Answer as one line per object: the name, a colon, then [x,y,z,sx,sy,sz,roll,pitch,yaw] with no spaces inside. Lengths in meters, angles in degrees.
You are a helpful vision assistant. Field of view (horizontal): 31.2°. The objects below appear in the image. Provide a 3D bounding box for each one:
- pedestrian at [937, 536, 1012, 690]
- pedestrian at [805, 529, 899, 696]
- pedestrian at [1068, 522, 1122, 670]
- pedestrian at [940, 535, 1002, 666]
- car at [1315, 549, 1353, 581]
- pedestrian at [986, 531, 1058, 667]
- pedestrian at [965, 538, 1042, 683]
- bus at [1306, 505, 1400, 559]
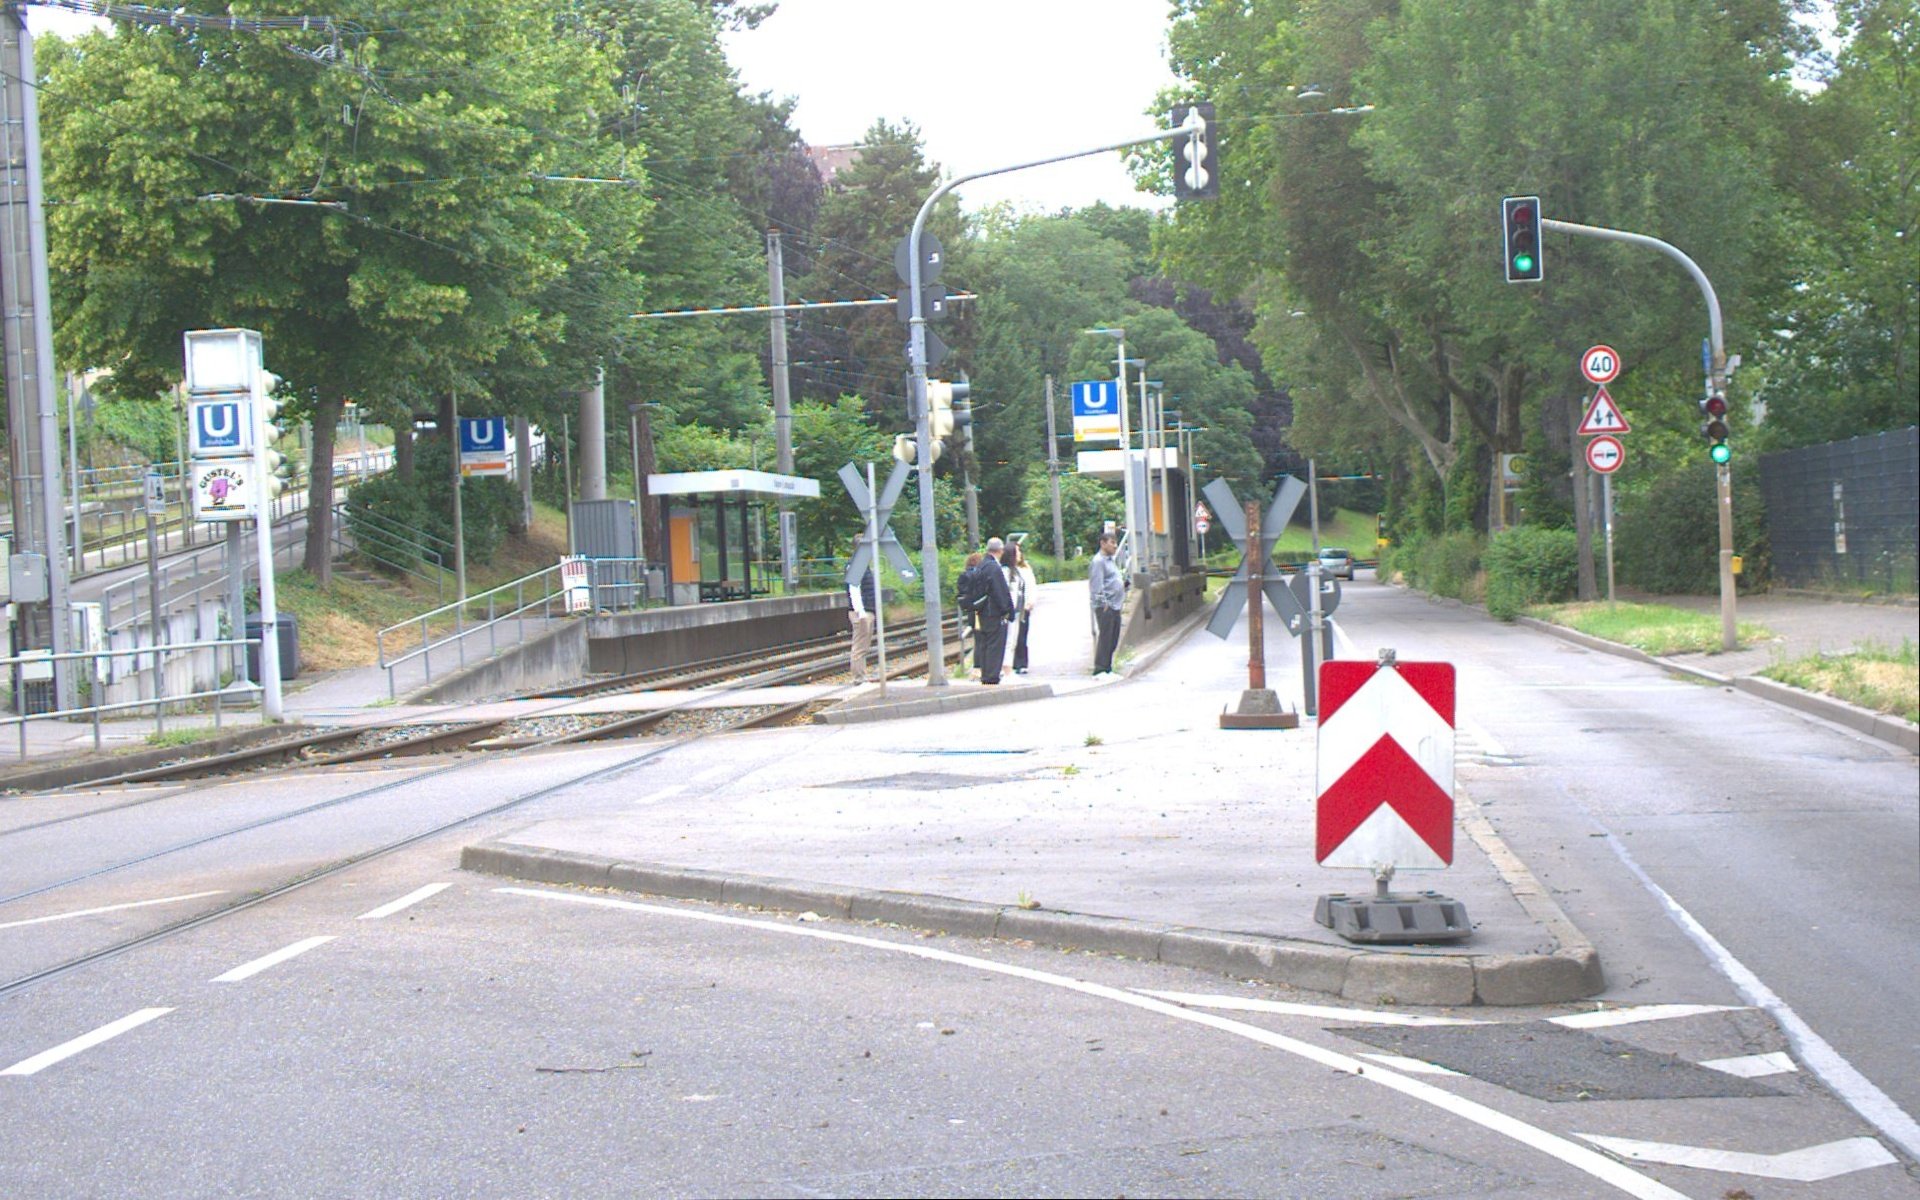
pedestrian: [0.161,0.134,37.468,0.735,1.659,0.681,0,1,7]
pedestrian: [-1.195,0.129,37.998,0.802,1.815,0.670,0,1,-33]
pedestrian: [1.620,-0.054,41.121,0.550,1.752,0.737,0,1,9]
pedestrian: [0.140,0.003,44.143,0.735,1.659,0.682,0,1,-5]
car: [18.636,-1.742,171.477,1.744,1.593,3.999,0,1,5]
pedestrian: [0.763,-0.015,42.436,0.680,1.659,0.737,0,1,20]
pedestrian: [0.508,0.111,39.886,0.680,1.659,0.737,0,1,20]
bus: [26.924,-4.642,235.135,2.739,3.614,8.925,1,1,33]
